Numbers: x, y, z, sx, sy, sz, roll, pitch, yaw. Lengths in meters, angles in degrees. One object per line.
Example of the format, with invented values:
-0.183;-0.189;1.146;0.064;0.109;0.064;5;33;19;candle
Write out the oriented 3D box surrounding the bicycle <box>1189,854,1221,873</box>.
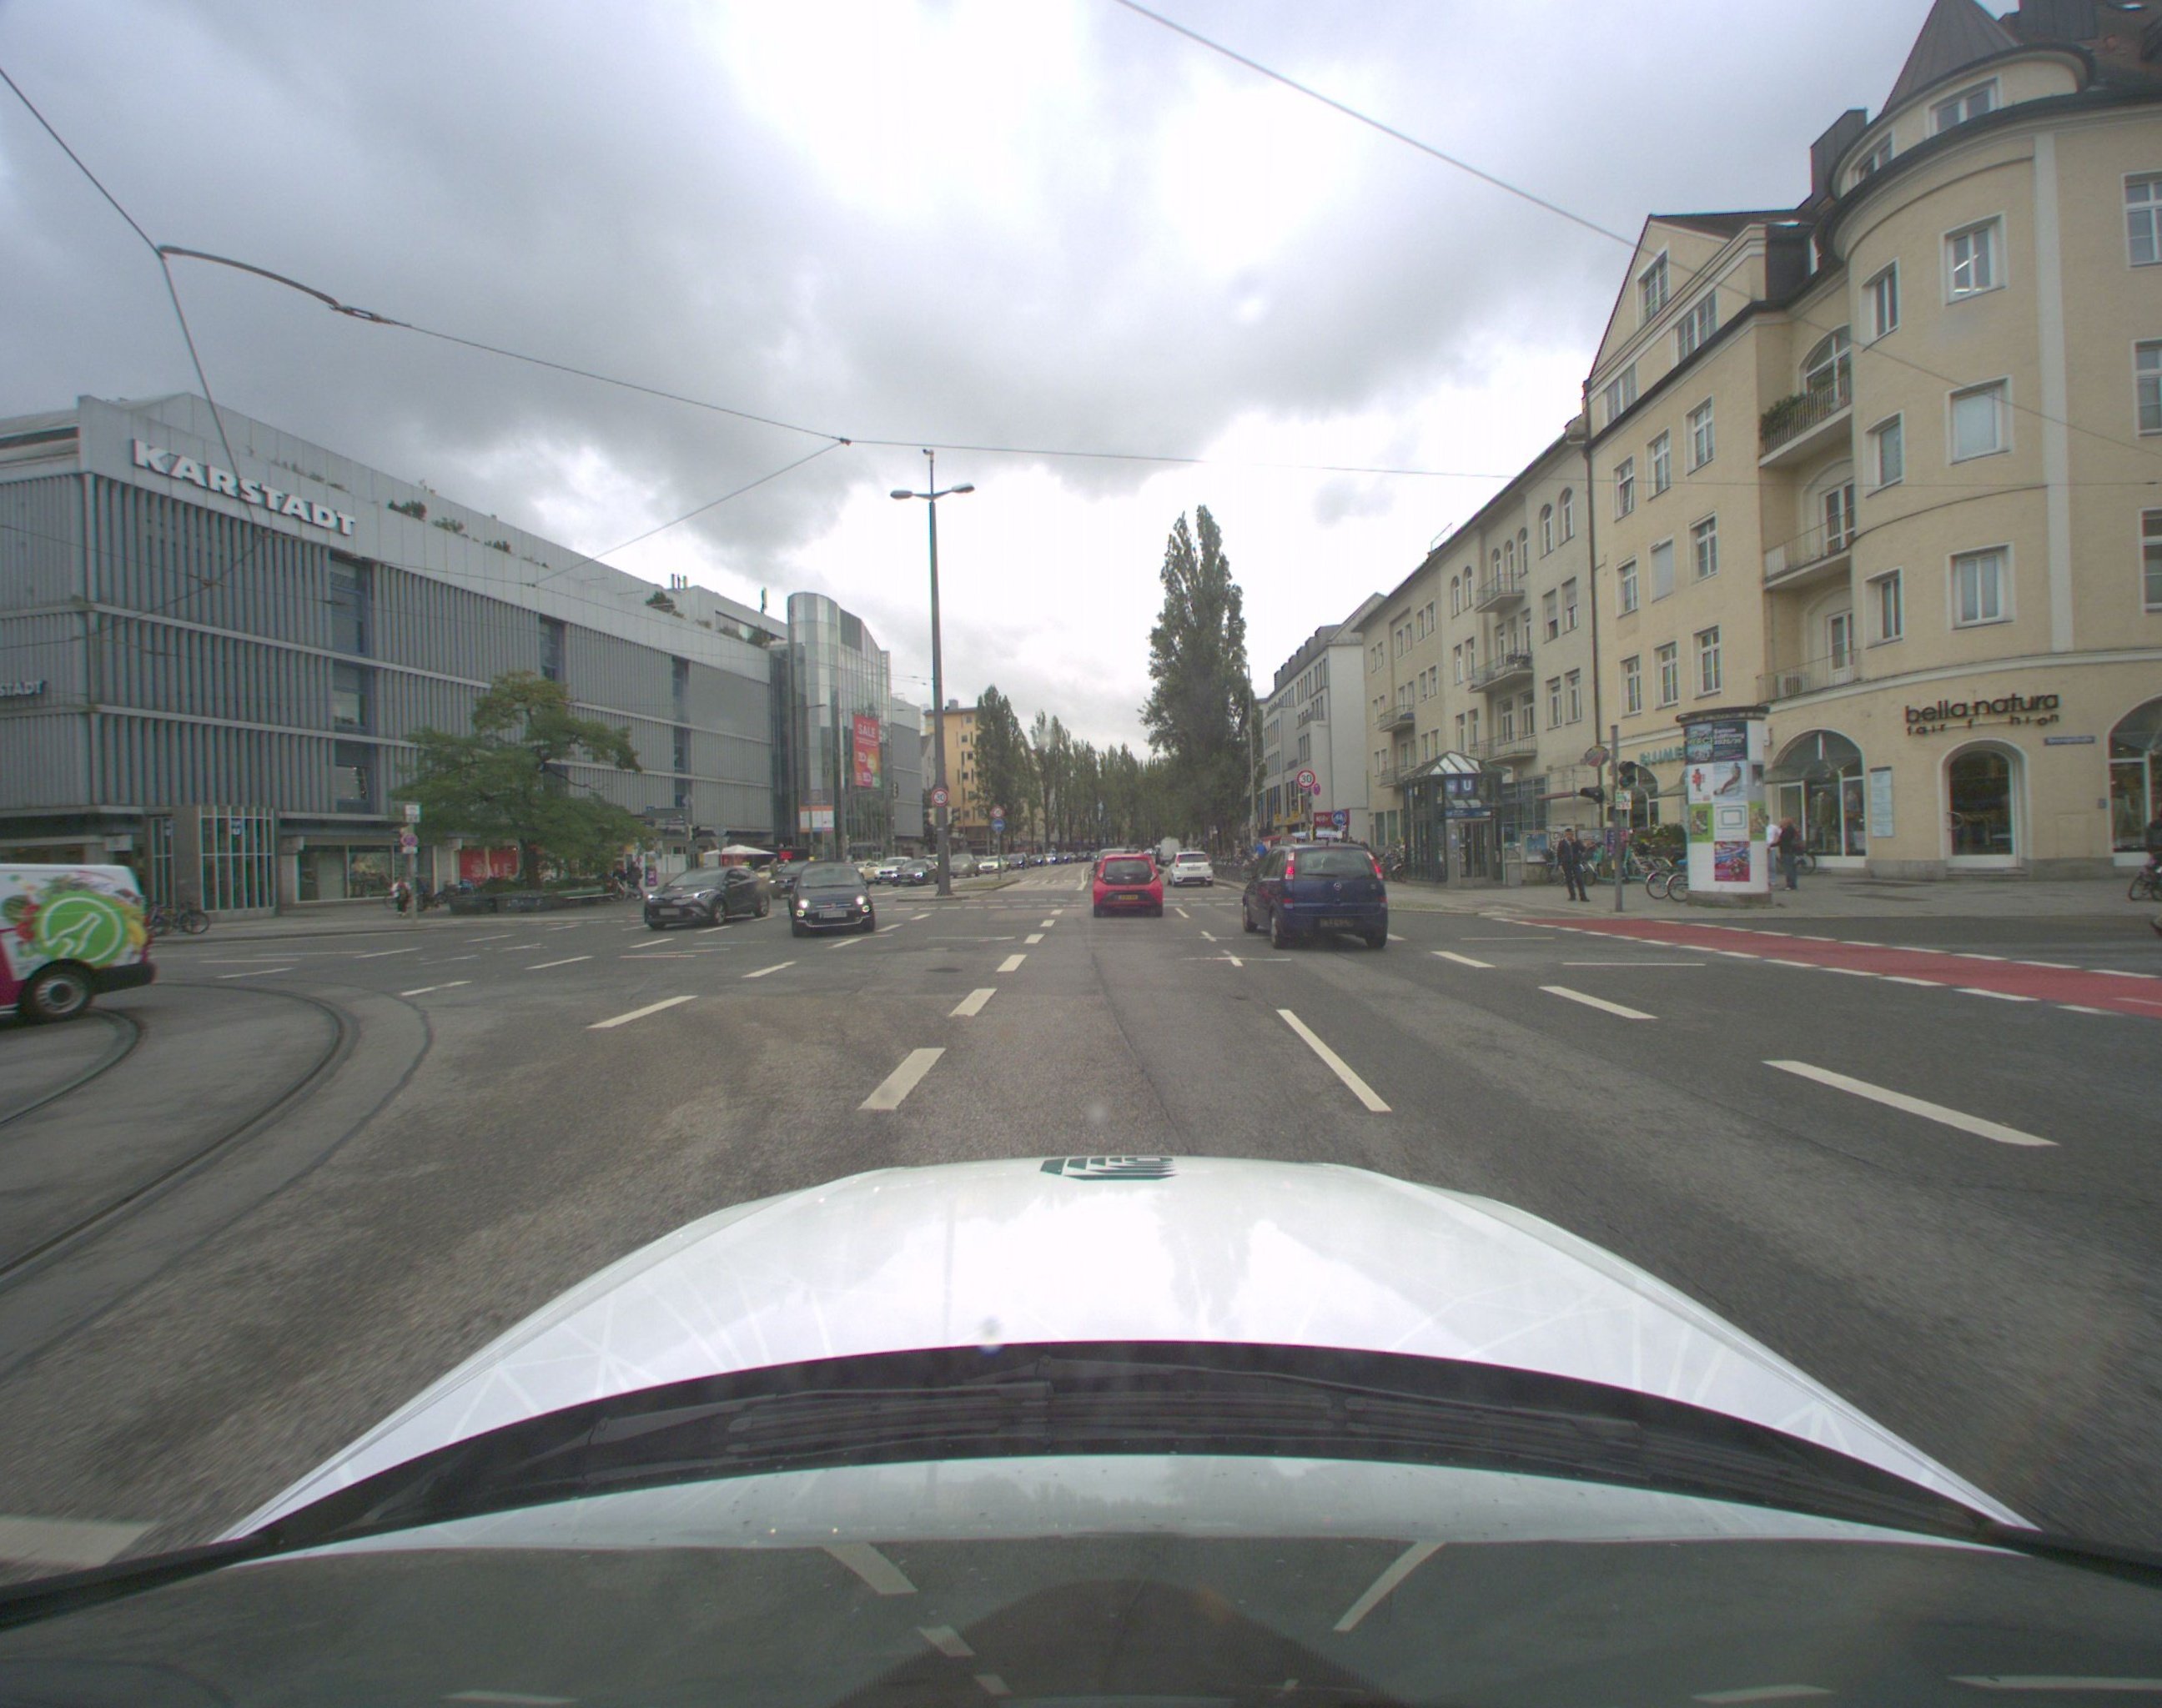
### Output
7.256;0.555;47.724;1.815;1.052;0.590;-2;0;44;bicycle

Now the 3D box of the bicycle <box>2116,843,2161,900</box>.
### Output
20.392;0.314;15.469;1.580;1.033;0.247;-2;0;-13;bicycle

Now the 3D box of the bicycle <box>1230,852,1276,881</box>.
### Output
7.266;0.529;34.445;1.782;1.158;0.551;-2;0;39;bicycle

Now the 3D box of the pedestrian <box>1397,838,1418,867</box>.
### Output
17.476;-0.090;43.618;0.775;1.517;0.758;-3;0;0;pedestrian

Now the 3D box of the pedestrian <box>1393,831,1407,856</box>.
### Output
21.006;-0.673;53.624;0.638;1.644;0.563;-2;0;1;pedestrian

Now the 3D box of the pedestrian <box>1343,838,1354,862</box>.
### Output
17.193;-0.254;52.304;0.501;1.484;0.468;-2;0;37;pedestrian

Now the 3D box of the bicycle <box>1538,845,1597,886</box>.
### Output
13.859;0.314;23.255;0.564;1.107;1.867;-2;0;2;bicycle

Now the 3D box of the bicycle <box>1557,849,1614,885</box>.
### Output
14.359;0.347;23.225;0.492;0.975;1.867;-2;0;2;bicycle

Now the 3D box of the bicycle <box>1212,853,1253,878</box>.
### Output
7.188;0.545;38.635;1.781;1.158;0.656;-2;0;37;bicycle

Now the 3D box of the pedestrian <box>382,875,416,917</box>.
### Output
-26.505;1.630;31.658;0.633;1.574;0.723;-2;0;13;pedestrian

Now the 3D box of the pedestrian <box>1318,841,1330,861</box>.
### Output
19.585;-0.255;65.614;0.730;1.602;0.742;-2;0;2;pedestrian

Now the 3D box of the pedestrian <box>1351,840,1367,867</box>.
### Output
18.479;-0.059;54.204;0.739;1.727;0.759;-3;0;2;pedestrian

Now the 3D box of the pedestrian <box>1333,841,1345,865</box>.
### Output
16.426;-0.055;51.845;0.573;1.505;0.620;-2;0;33;pedestrian

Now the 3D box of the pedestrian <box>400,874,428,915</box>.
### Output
-28.592;1.721;34.896;0.792;1.687;0.853;-2;0;-33;pedestrian

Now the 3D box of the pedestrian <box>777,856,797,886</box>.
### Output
-16.945;0.970;47.010;0.766;1.690;0.753;-2;0;6;pedestrian

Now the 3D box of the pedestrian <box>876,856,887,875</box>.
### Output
-18.850;1.084;76.951;0.646;1.691;0.714;-2;0;14;pedestrian

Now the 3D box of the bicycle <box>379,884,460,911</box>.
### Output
-31.377;2.050;38.612;3.468;1.156;1.064;-2;0;14;bicycle

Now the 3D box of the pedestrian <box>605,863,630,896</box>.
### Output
-22.719;1.252;39.916;0.763;1.554;0.756;-2;0;29;pedestrian

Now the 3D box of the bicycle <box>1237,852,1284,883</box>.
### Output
7.278;0.540;33.051;0.562;1.198;1.782;-2;0;-45;bicycle

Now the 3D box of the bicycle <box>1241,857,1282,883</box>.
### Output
7.177;0.633;32.393;0.502;1.028;1.582;-2;0;-41;bicycle

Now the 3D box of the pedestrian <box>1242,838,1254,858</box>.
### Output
14.191;-0.512;69.181;0.787;1.727;0.764;-2;0;2;pedestrian

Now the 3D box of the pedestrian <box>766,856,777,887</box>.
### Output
-17.893;1.011;47.100;0.441;1.759;0.358;-2;0;37;pedestrian

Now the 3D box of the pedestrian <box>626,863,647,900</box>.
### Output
-21.628;1.320;39.668;0.752;1.773;0.767;-2;0;-22;pedestrian

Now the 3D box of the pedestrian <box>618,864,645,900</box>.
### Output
-21.289;1.326;38.603;0.765;1.654;0.754;-2;0;12;pedestrian

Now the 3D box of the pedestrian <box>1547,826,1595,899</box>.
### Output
11.742;0.202;19.525;0.826;1.691;0.825;-2;0;39;pedestrian

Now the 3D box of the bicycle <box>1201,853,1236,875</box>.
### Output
7.214;0.552;42.775;1.782;1.111;0.566;-2;0;43;bicycle

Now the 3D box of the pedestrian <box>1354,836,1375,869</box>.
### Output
15.310;-0.060;43.942;0.810;1.727;0.759;-3;0;2;pedestrian

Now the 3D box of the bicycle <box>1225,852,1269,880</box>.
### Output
7.331;0.524;35.937;1.782;1.158;0.490;-2;0;27;bicycle

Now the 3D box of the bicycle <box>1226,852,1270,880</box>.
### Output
7.199;0.526;35.130;1.782;1.158;0.551;-2;0;39;bicycle

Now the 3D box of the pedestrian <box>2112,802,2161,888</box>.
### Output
21.853;-0.203;16.607;0.676;1.684;0.749;-2;3;11;pedestrian

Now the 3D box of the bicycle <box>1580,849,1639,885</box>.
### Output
15.036;0.349;23.214;0.492;0.975;1.867;-2;0;2;bicycle

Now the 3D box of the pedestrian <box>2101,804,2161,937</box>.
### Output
14.755;0.204;10.853;0.929;1.755;1.066;-2;0;3;pedestrian

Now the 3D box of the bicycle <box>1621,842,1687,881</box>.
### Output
16.270;0.196;23.178;0.493;1.059;1.864;-2;0;-3;bicycle

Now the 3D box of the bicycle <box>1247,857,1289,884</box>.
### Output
7.225;0.639;31.535;0.502;1.028;1.582;-2;0;-41;bicycle

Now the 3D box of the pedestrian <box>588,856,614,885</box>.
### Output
-22.424;0.769;38.062;0.542;1.275;1.045;-2;0;3;pedestrian

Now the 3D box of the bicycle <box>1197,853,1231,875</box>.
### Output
7.232;0.546;44.203;1.782;1.111;0.590;-2;0;44;bicycle

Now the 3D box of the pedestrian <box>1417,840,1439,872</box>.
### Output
18.735;0.093;43.976;0.748;1.650;0.758;-3;0;0;pedestrian

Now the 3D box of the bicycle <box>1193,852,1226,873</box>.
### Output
7.293;0.489;46.314;1.815;1.197;0.590;-2;0;44;bicycle

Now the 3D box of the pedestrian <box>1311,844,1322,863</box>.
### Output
17.858;-0.054;61.764;0.596;1.402;0.580;-2;0;2;pedestrian

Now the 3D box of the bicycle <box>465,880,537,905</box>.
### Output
-30.651;2.048;43.049;3.468;1.156;1.064;-2;0;14;bicycle

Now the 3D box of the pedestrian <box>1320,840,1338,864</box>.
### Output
16.100;-0.137;52.849;0.801;1.522;0.805;-2;0;35;pedestrian

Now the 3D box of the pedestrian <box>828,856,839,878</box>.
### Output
-20.007;1.046;65.872;0.553;1.817;0.630;-2;0;13;pedestrian

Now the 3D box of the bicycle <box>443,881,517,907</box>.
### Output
-30.650;2.040;41.534;3.468;1.156;1.064;-2;0;14;bicycle

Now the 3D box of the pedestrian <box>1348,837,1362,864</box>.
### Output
17.199;-0.223;51.182;0.594;1.669;0.690;-2;0;37;pedestrian

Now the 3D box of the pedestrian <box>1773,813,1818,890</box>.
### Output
16.867;-0.067;19.241;0.642;1.751;0.640;-1;3;24;pedestrian

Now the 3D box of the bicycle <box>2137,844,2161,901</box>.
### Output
20.466;0.315;15.213;1.580;1.033;0.247;-2;0;-13;bicycle

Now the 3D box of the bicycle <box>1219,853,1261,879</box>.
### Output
7.249;0.539;37.256;1.781;1.158;0.490;-2;0;32;bicycle

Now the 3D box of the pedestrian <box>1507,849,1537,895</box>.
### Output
16.392;0.659;30.295;0.654;1.670;0.722;-3;0;3;pedestrian

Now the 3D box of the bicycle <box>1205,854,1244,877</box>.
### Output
7.181;0.560;40.698;1.781;1.111;0.656;-2;0;39;bicycle

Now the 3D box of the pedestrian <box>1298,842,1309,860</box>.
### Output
19.565;-0.304;71.654;0.710;1.558;0.676;-2;0;1;pedestrian

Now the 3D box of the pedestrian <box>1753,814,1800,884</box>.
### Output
17.540;-0.132;20.543;0.648;1.705;0.727;-4;3;-28;pedestrian

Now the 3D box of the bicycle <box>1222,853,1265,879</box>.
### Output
7.285;0.544;36.599;1.782;1.158;0.490;-2;0;31;bicycle

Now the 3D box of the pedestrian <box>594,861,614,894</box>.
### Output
-22.752;1.113;38.859;0.754;1.493;0.765;-2;0;-33;pedestrian

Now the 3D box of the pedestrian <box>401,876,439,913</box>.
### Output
-29.506;1.783;36.354;0.791;1.581;0.980;-2;0;13;pedestrian

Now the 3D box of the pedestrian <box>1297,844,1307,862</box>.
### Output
18.294;-0.076;67.461;0.596;1.402;0.580;-2;0;2;pedestrian

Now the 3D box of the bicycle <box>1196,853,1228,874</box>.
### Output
7.199;0.543;44.870;1.782;1.111;0.494;-2;0;44;bicycle

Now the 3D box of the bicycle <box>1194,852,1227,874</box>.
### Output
7.240;0.510;45.533;1.815;1.168;0.590;-2;0;44;bicycle

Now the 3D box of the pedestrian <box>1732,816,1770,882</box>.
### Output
16.937;-0.134;20.592;0.556;1.609;0.570;-2;3;15;pedestrian
